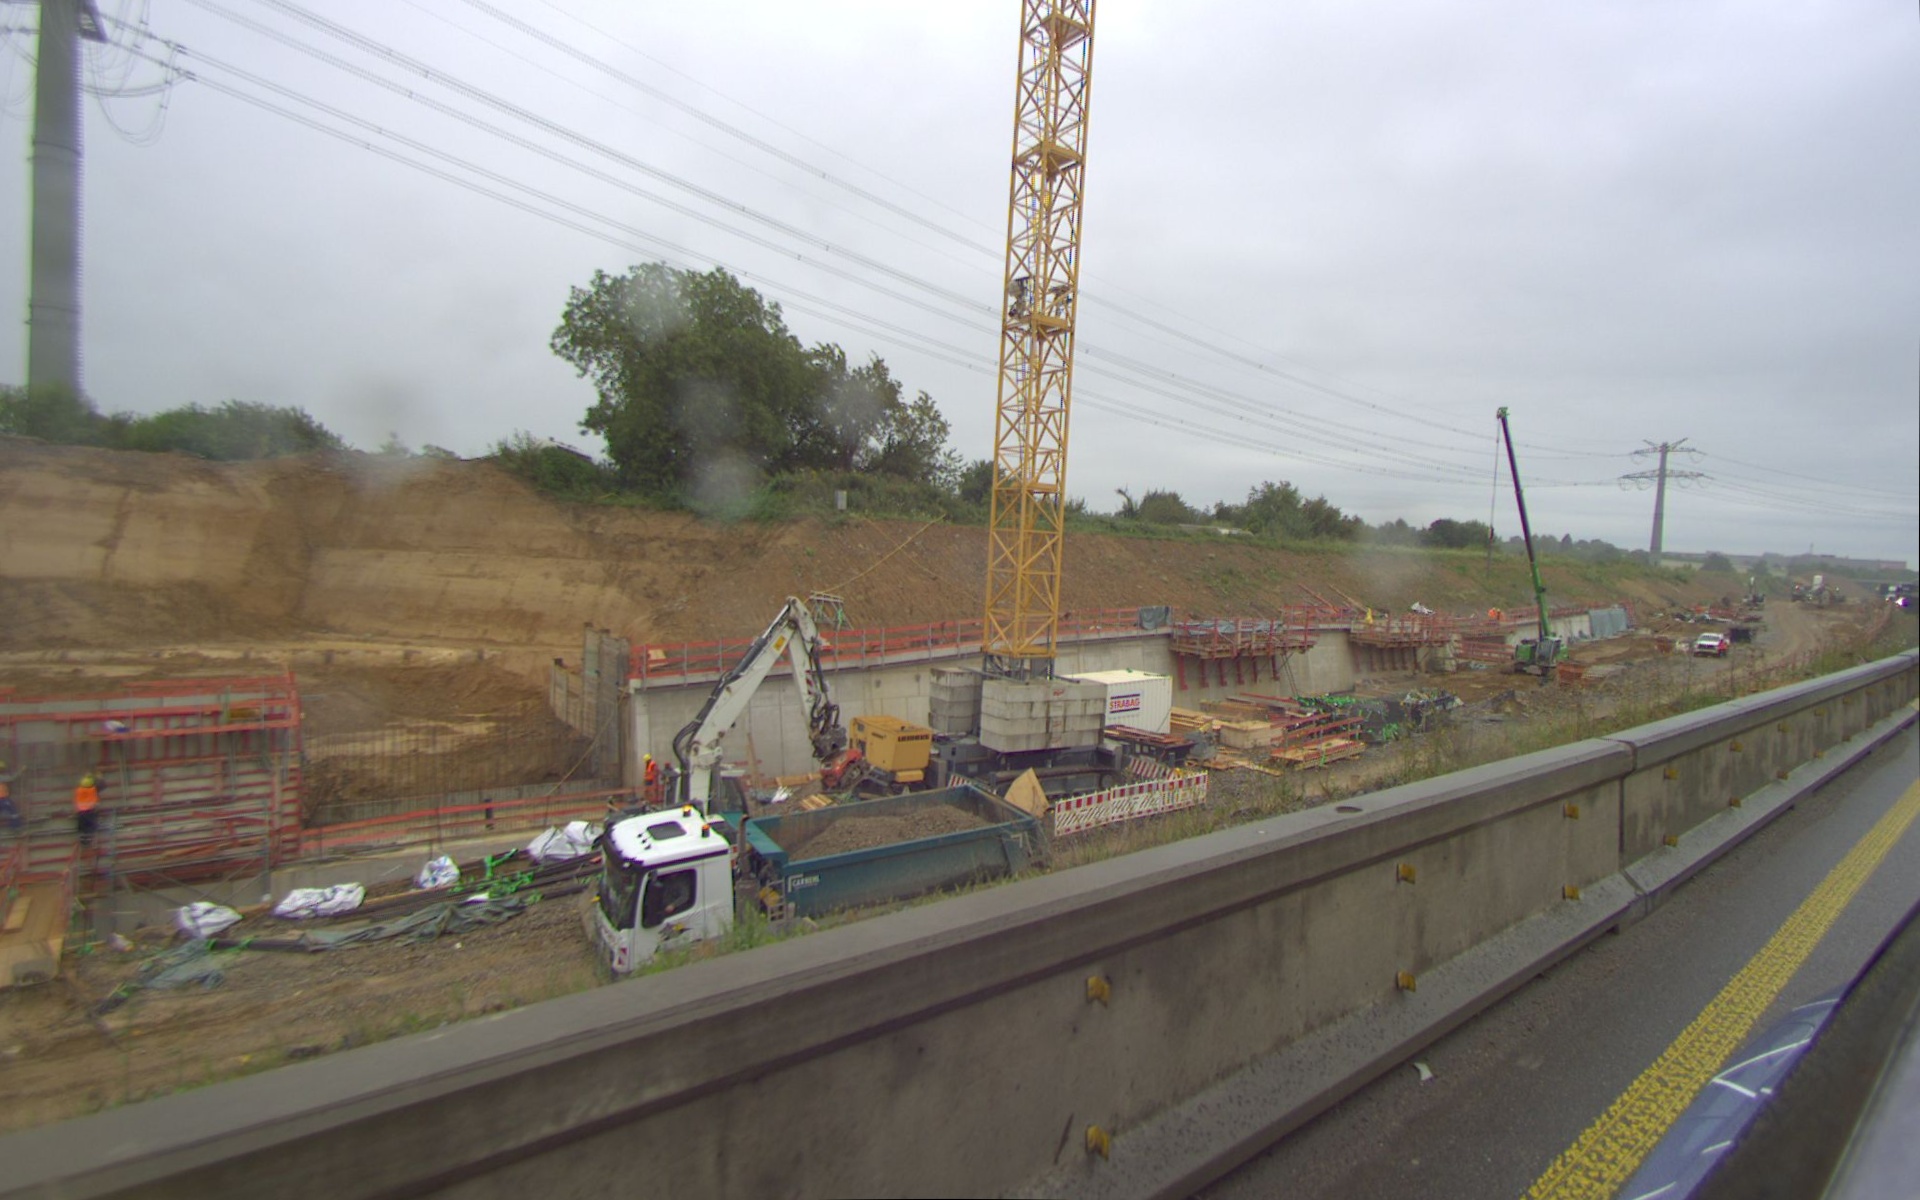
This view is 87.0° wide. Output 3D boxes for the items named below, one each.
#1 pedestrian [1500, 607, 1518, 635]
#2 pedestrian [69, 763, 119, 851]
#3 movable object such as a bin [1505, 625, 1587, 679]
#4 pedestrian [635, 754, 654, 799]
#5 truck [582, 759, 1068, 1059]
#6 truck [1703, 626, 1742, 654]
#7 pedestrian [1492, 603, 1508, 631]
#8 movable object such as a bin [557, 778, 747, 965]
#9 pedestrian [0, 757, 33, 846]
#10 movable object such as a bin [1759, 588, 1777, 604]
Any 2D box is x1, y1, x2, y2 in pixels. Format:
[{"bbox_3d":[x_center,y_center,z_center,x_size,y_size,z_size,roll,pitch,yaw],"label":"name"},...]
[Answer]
[{"bbox_3d":[45.937,1.749,84.713,0.989,2.260,0.916,-2,-3,-41],"label":"pedestrian"},{"bbox_3d":[-21.645,5.167,25.309,0.882,2.027,0.904,-1,-9,-36],"label":"pedestrian"},{"bbox_3d":[39.928,3.475,68.927,3.794,2.836,4.782,2,7,44],"label":"movable object such as a bin"},{"bbox_3d":[-10.510,5.884,33.755,0.392,1.455,0.424,-1,-8,-38],"label":"pedestrian"},{"bbox_3d":[-2.332,5.373,19.210,8.768,3.547,2.711,-1,1,-29],"label":"truck"},{"bbox_3d":[61.921,3.228,82.138,1.763,1.894,5.693,4,3,45],"label":"truck"},{"bbox_3d":[46.562,1.473,87.287,0.914,2.275,0.991,-5,-3,42],"label":"pedestrian"},{"bbox_3d":[-6.649,5.643,21.761,2.917,2.772,3.155,-1,1,-40],"label":"movable object such as a bin"},{"bbox_3d":[-22.962,4.873,24.340,0.882,2.027,0.904,-1,-9,-36],"label":"pedestrian"},{"bbox_3d":[141.350,-0.708,177.038,2.244,2.753,3.940,0,1,42],"label":"movable object such as a bin"}]
